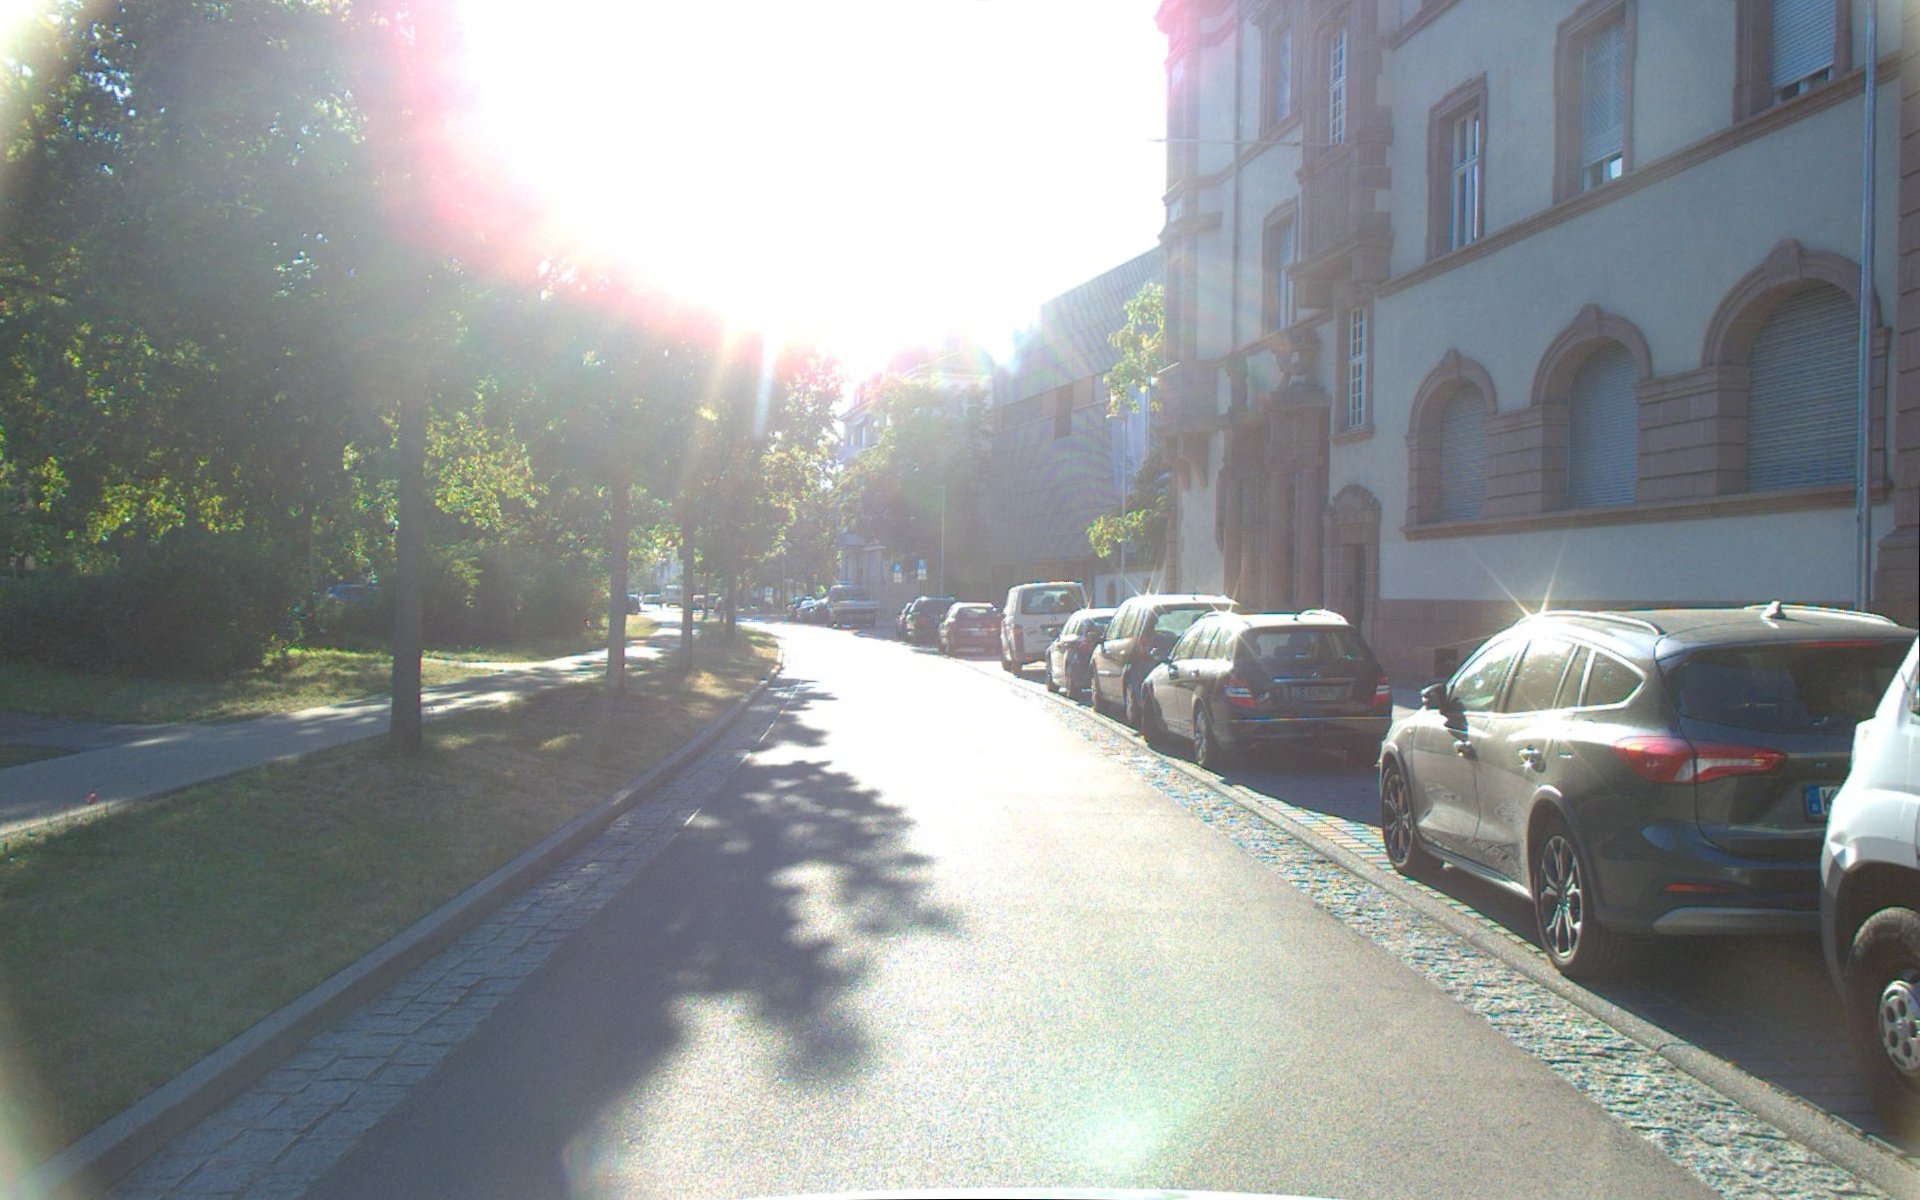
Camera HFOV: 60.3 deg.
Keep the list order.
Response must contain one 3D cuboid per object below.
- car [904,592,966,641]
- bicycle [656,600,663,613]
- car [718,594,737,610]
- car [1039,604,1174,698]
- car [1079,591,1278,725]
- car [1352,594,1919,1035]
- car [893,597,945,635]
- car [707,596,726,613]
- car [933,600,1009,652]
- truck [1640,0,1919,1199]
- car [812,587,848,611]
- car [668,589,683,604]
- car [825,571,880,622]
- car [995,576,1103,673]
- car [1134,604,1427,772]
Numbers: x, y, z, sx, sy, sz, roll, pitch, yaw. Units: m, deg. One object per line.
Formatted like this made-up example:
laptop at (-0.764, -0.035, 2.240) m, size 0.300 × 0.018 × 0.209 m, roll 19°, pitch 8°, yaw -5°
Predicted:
car at (-0.966, 0.579, 60.494) m, size 1.692 × 1.698 × 4.105 m, roll 0°, pitch 0°, yaw -9°
bicycle at (-33.475, 0.683, 184.185) m, size 0.675 × 1.223 × 2.340 m, roll 1°, pitch 4°, yaw -9°
car at (-22.861, 0.189, 162.501) m, size 1.760 × 1.536 × 3.992 m, roll 1°, pitch 0°, yaw -9°
car at (2.377, 0.797, 27.777) m, size 1.646 × 1.427 × 4.196 m, roll -1°, pitch 0°, yaw -4°
car at (2.849, 0.708, 22.459) m, size 1.780 × 1.630 × 4.188 m, roll 0°, pitch 0°, yaw -5°
car at (3.359, 0.763, 8.220) m, size 1.732 × 1.557 × 4.572 m, roll -1°, pitch 0°, yaw 0°
car at (-1.665, 0.634, 66.227) m, size 1.692 × 1.446 × 3.899 m, roll 0°, pitch 0°, yaw -8°
car at (-25.907, 0.503, 175.590) m, size 1.762 × 1.754 × 3.989 m, roll 1°, pitch 0°, yaw -11°
car at (0.292, 0.749, 50.289) m, size 1.714 × 1.492 × 4.470 m, roll 1°, pitch 0°, yaw -7°
truck at (3.719, -0.097, 2.613) m, size 2.571 × 3.175 × 6.085 m, roll -1°, pitch 0°, yaw -2°
car at (-7.891, -0.073, 100.126) m, size 1.661 × 1.466 × 3.539 m, roll 0°, pitch 0°, yaw -13°
car at (-38.999, -0.470, 226.657) m, size 1.762 × 2.034 × 3.989 m, roll 1°, pitch 0°, yaw -11°
car at (-5.838, -0.201, 89.215) m, size 2.172 × 2.574 × 6.130 m, roll -1°, pitch 0°, yaw -11°
car at (1.980, 0.528, 38.238) m, size 1.954 × 2.000 × 4.846 m, roll -2°, pitch 0°, yaw -3°
car at (3.124, 0.793, 17.107) m, size 1.835 × 1.461 × 4.518 m, roll -1°, pitch 0°, yaw -5°
